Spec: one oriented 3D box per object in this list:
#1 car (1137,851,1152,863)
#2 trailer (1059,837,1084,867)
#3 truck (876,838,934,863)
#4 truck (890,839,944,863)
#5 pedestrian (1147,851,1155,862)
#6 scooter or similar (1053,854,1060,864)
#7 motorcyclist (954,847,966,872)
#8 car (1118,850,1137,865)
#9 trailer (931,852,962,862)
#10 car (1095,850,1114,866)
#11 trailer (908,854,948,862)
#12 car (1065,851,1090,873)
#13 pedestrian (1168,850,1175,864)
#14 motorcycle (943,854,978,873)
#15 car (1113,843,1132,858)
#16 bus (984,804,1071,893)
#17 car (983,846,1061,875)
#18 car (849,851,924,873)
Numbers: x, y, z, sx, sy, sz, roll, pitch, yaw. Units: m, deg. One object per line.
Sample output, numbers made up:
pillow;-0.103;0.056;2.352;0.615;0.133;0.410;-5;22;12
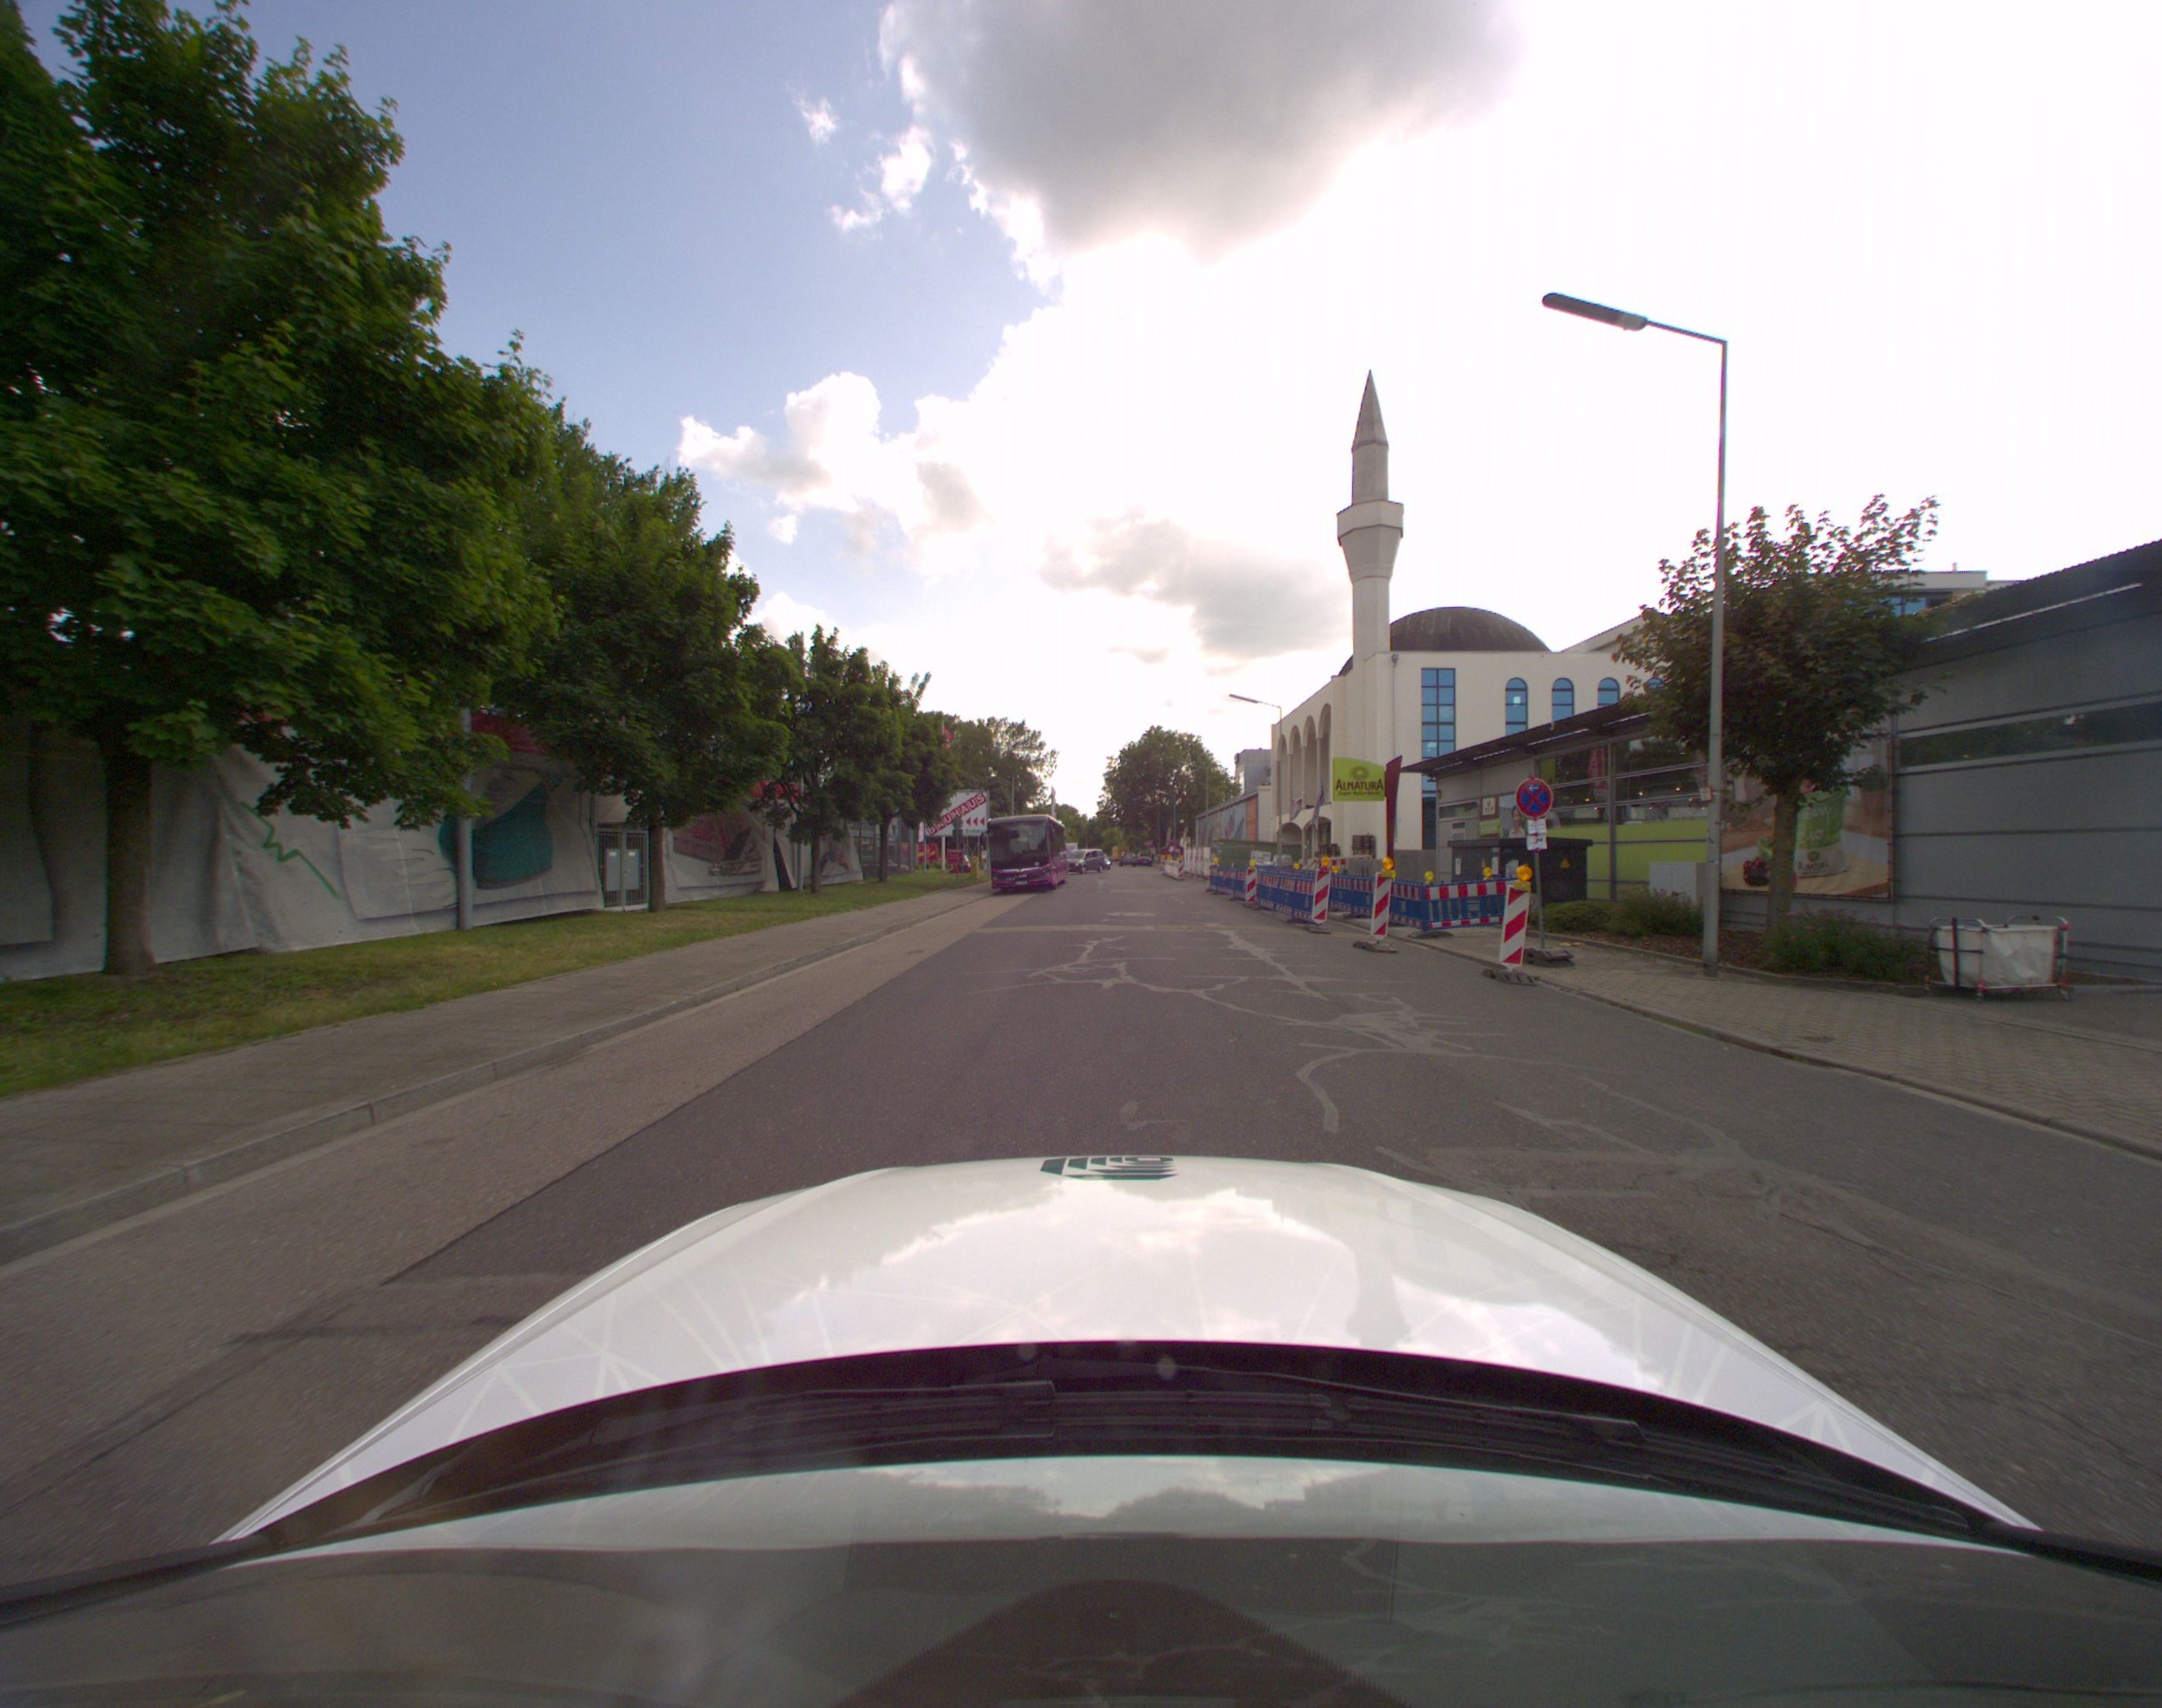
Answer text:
car;8.157;0.357;104.679;1.800;1.391;4.592;3;0;3
trailer;-0.886;-0.232;79.220;2.131;2.783;4.705;-2;0;2
truck;-18.898;-0.382;87.642;5.729;2.594;1.817;0;-2;3
truck;-18.278;-0.371;90.820;5.526;2.594;1.780;0;-2;2
pedestrian;11.479;0.461;133.702;1.002;1.849;1.223;0;0;-16
scooter or similar;-2.860;0.582;95.154;0.514;1.193;1.284;1;0;13
motorcyclist;-8.337;0.394;56.181;0.671;1.723;0.995;-1;0;3
car;5.509;0.392;96.829;1.955;1.815;4.275;0;0;0
trailer;-17.751;0.377;107.515;3.796;1.190;1.719;0;1;7
car;2.296;0.388;80.081;1.789;1.459;4.387;-1;0;2
trailer;-17.942;0.440;95.608;4.220;0.913;2.159;0;-2;0
car;-0.208;0.624;64.154;1.861;1.630;4.128;0;0;1
pedestrian;9.510;0.313;85.467;0.678;1.534;1.131;0;0;2
motorcycle;-8.279;0.651;56.185;2.212;1.213;0.995;-1;0;2
car;7.353;-0.601;145.491;2.197;2.578;6.388;0;0;-7
bus;-2.243;-0.255;39.303;2.653;3.422;13.225;-4;0;2
car;-3.964;0.420;55.537;4.973;1.949;1.996;0;0;7
car;-13.399;0.554;56.295;4.664;1.453;1.956;0;0;3
